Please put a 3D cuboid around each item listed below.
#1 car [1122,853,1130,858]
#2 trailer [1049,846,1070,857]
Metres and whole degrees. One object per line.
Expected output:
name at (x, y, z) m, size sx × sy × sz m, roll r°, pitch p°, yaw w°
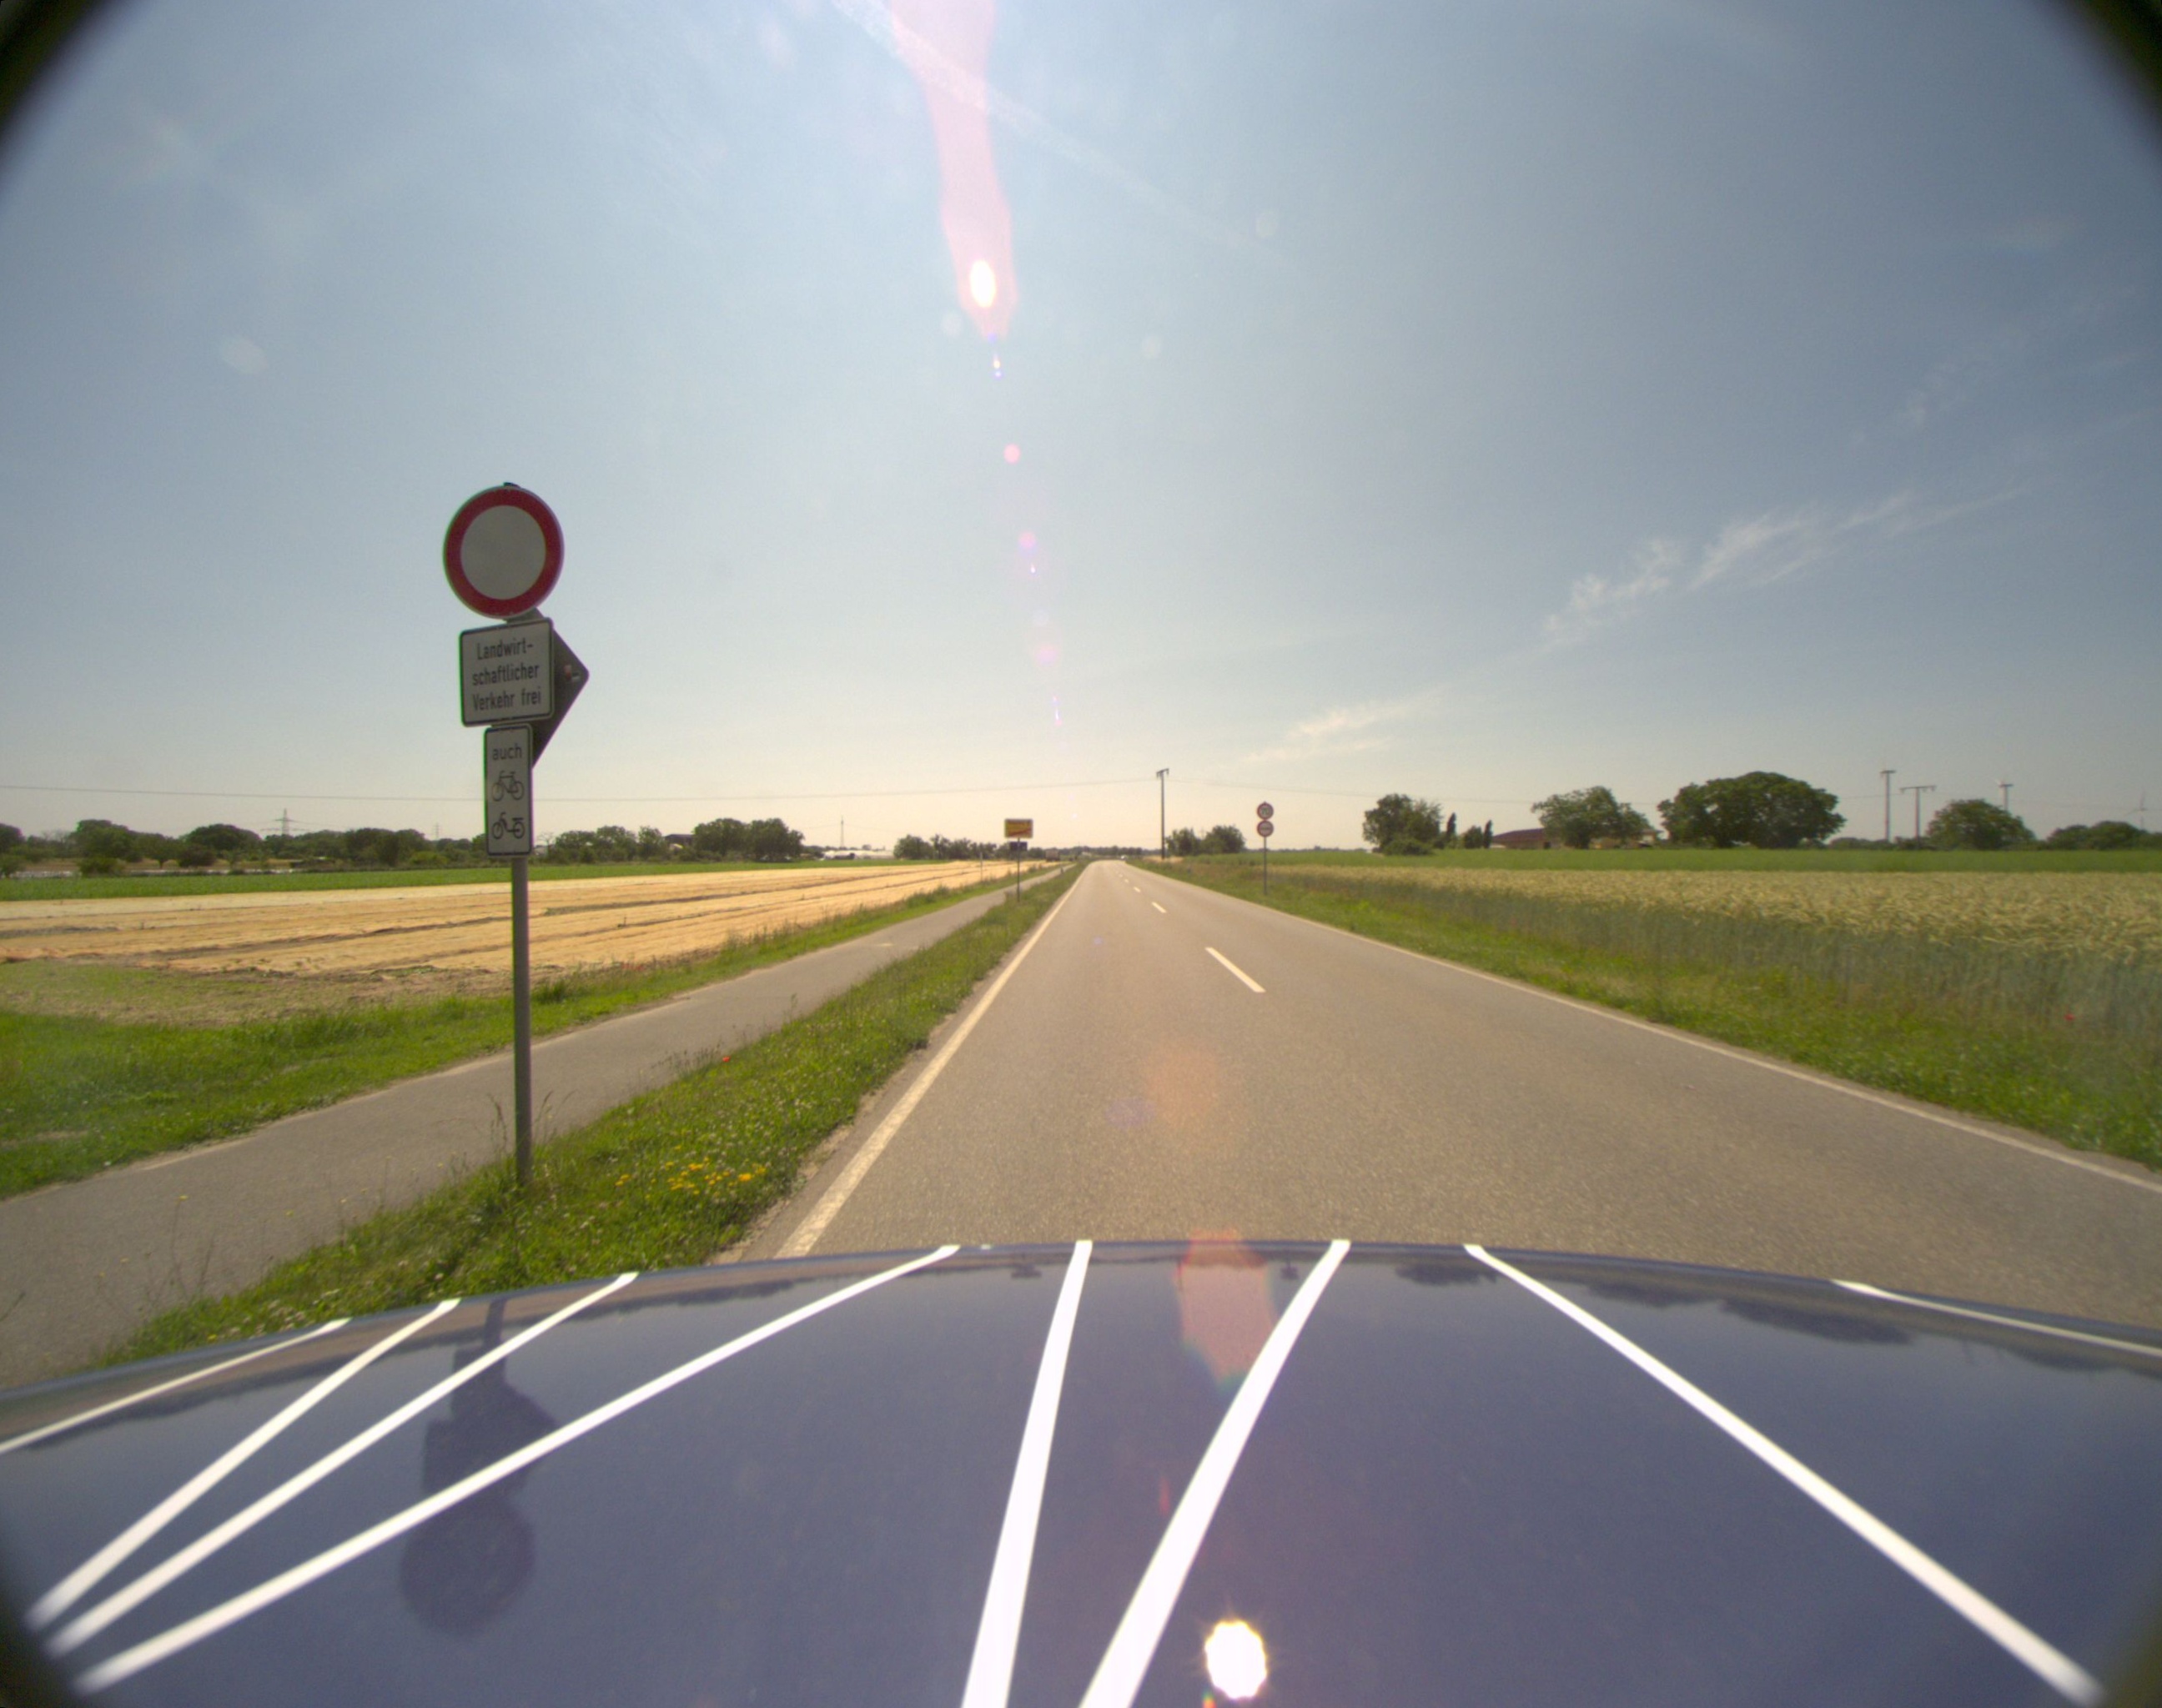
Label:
car at (11.854, 0.340, 200.556) m, size 1.795 × 1.401 × 4.188 m, roll 1°, pitch 0°, yaw 8°
trailer at (-5.895, -0.664, 209.107) m, size 5.283 × 2.936 × 2.002 m, roll 1°, pitch 2°, yaw 21°
